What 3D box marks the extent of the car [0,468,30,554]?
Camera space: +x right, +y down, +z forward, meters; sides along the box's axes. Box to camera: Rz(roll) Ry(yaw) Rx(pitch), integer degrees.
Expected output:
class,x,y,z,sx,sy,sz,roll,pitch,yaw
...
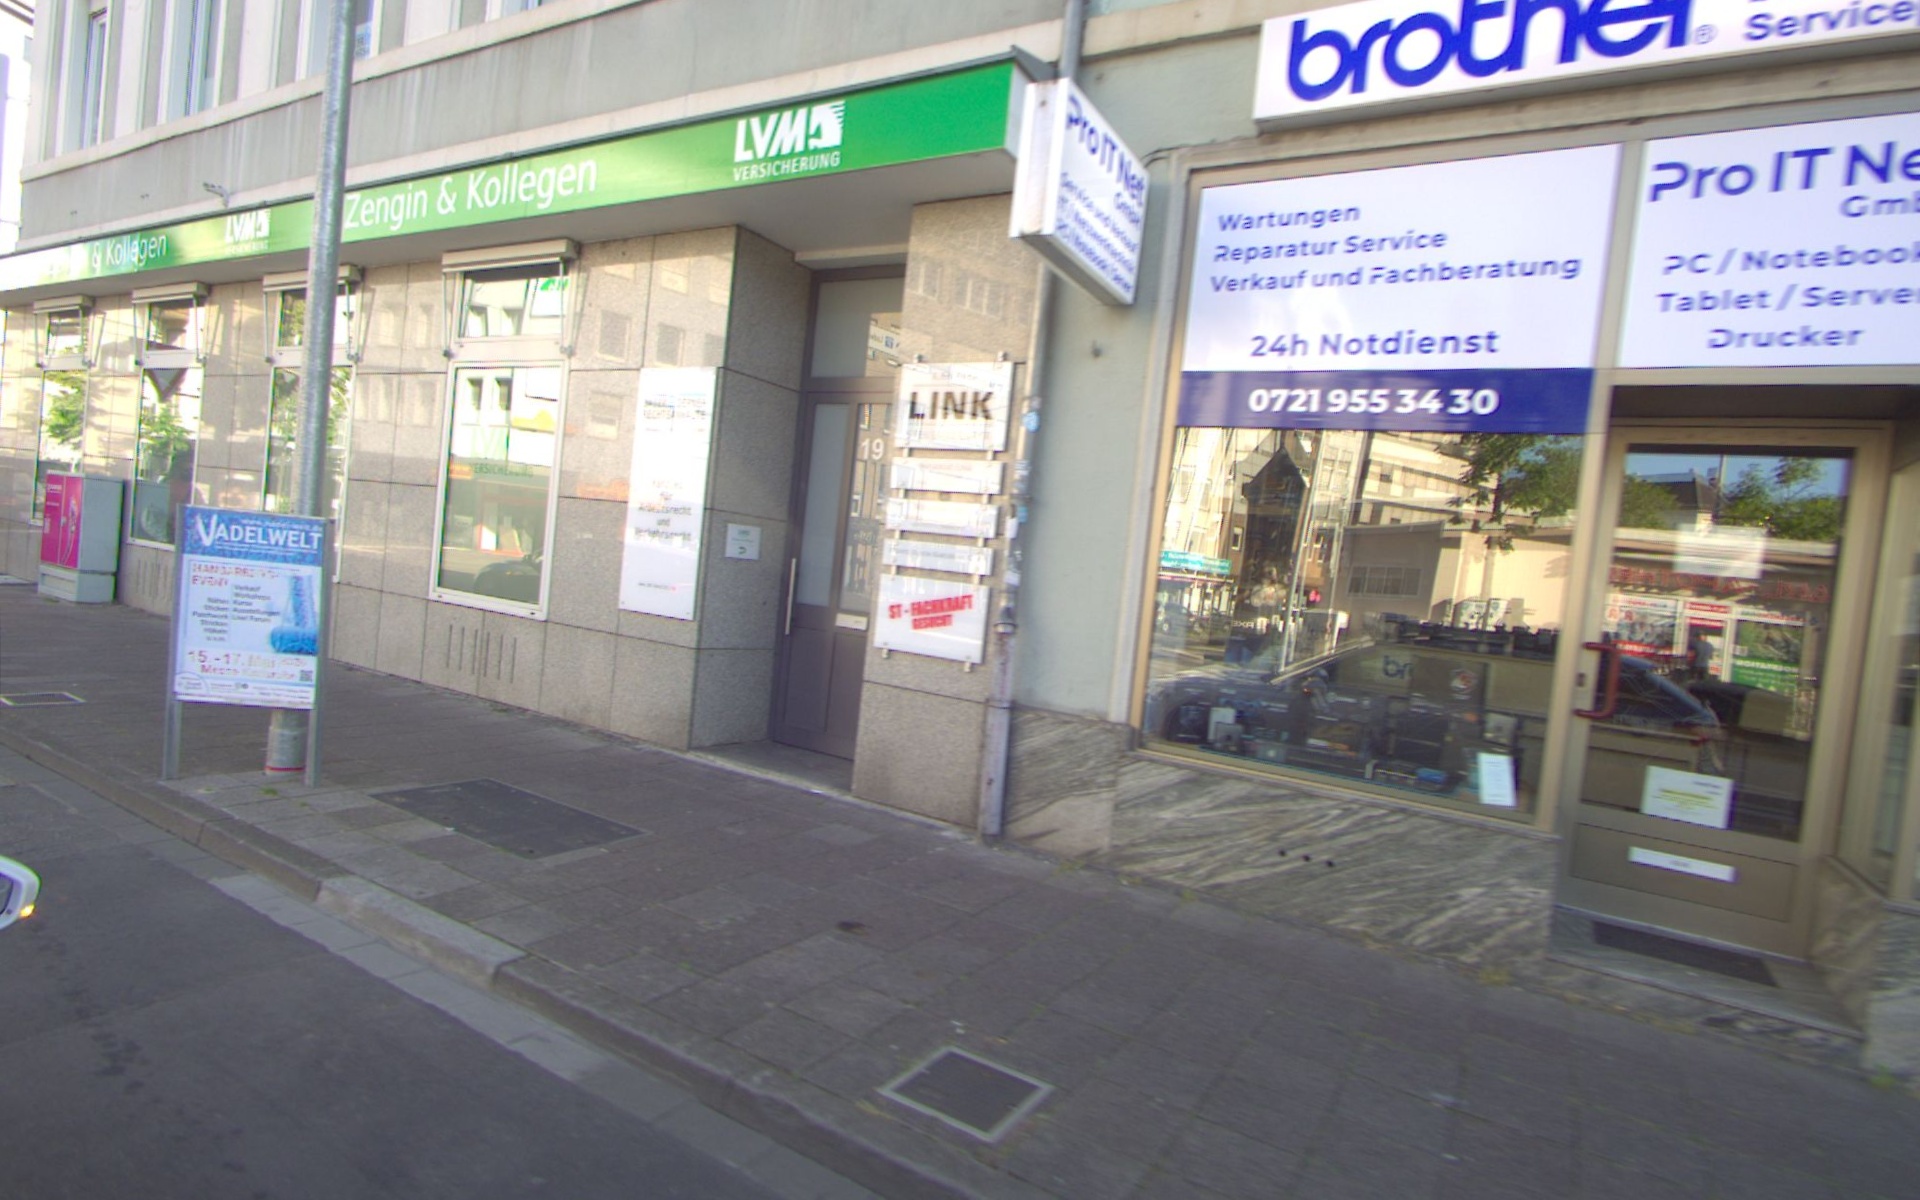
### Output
class,x,y,z,sx,sy,sz,roll,pitch,yaw
car,-16.854,-1.576,15.360,1.738,1.436,4.345,6,0,-10

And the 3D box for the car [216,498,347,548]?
class,x,y,z,sx,sy,sz,roll,pitch,yaw
car,-25.163,-2.836,37.511,1.686,1.465,4.137,4,1,7
